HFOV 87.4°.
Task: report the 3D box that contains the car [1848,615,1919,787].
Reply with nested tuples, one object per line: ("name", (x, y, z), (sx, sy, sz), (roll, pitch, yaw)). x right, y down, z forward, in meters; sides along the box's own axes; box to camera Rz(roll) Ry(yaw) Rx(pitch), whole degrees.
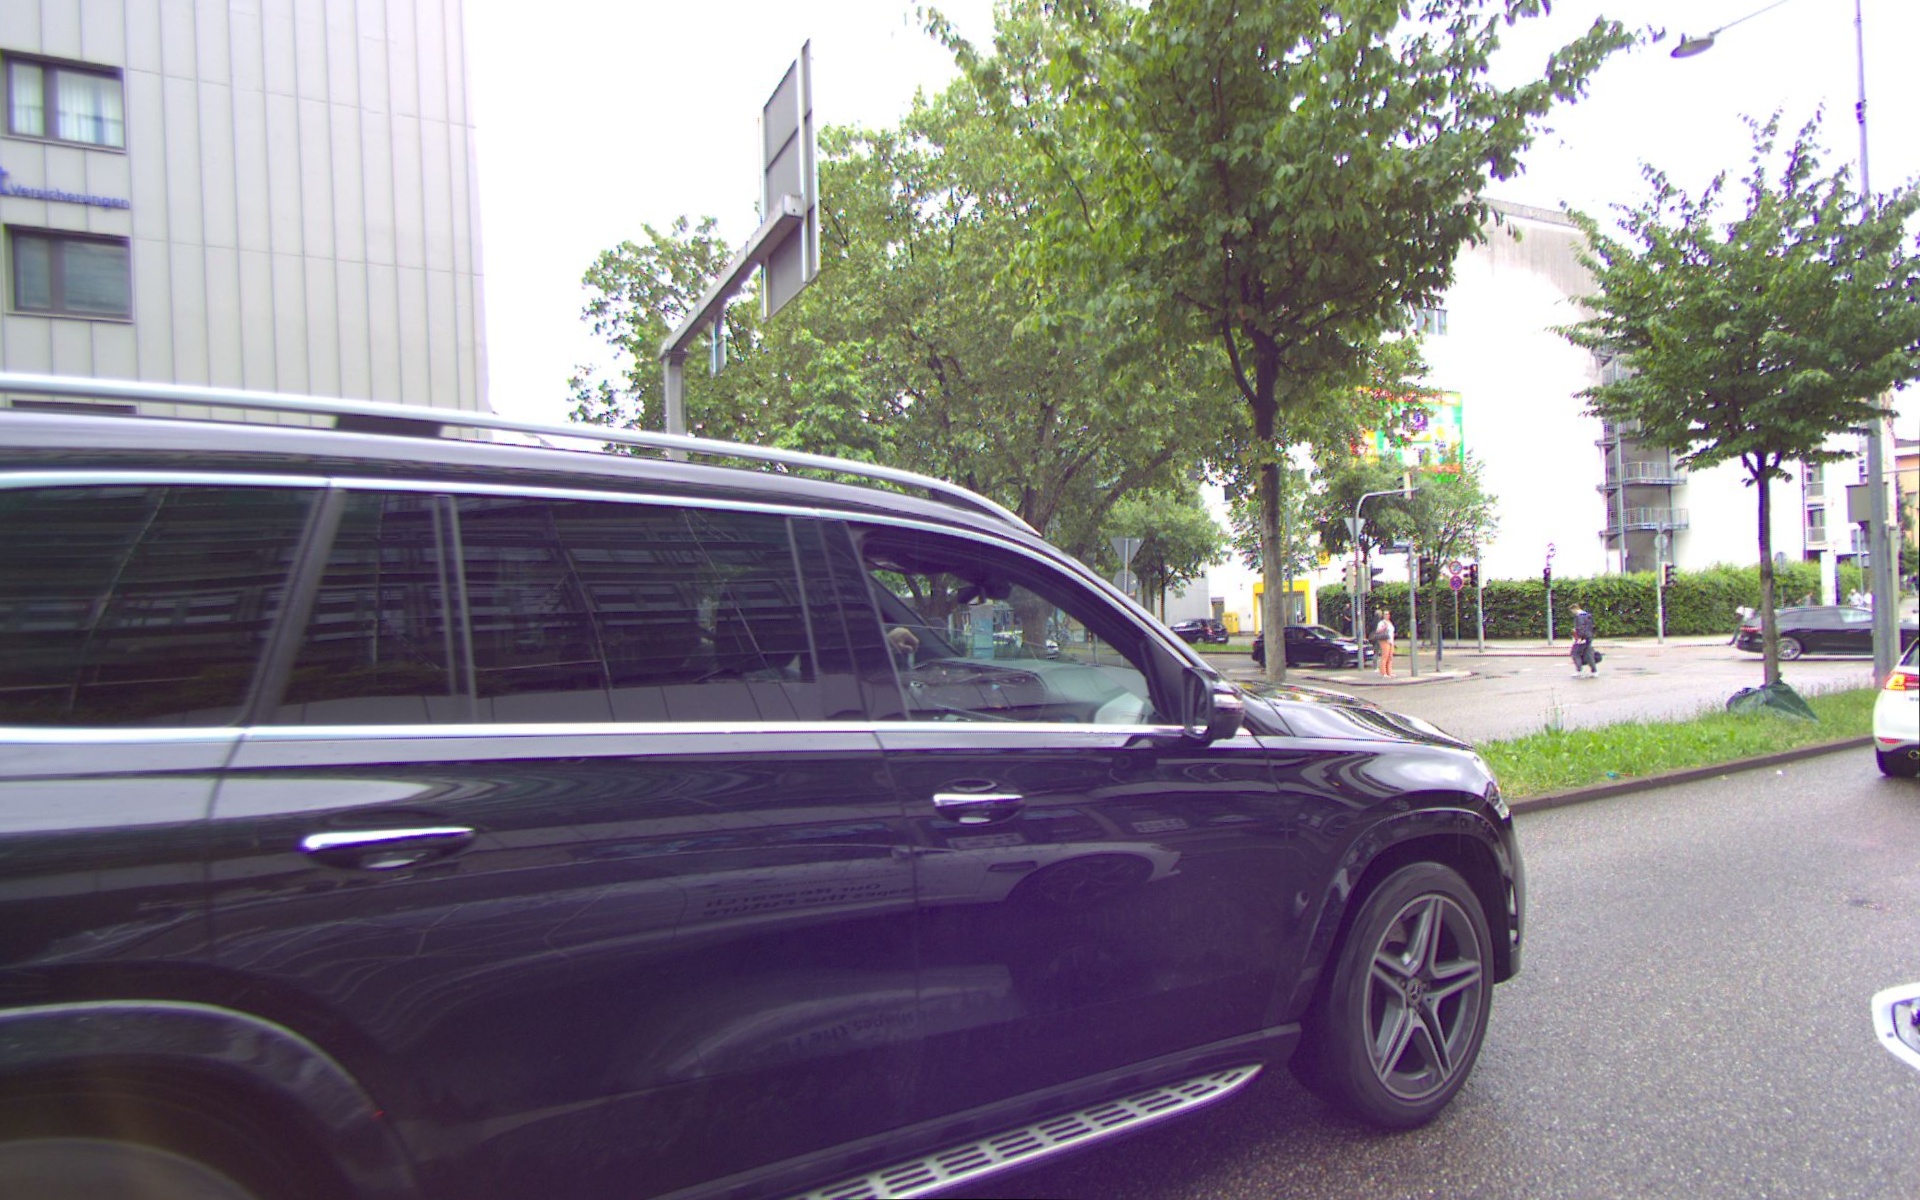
("car", (9.961, 0.875, 9.228), (3.801, 1.448, 1.767), (0, 0, -33))

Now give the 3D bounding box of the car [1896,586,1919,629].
("car", (35.063, 0.247, 35.883), (3.571, 1.506, 1.565), (0, 1, -33))

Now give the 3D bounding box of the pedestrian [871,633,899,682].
("pedestrian", (-2.681, 2.036, 35.838), (0.780, 1.719, 0.721), (1, -2, -26))

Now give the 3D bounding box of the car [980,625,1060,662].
("car", (2.746, 1.980, 46.723), (1.619, 1.506, 4.271), (0, 1, -31))

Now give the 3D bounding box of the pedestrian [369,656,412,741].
("pedestrian", (-11.917, 2.049, 21.045), (0.700, 1.702, 0.745), (2, 0, -28))

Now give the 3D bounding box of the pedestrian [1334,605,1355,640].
("pedestrian", (19.134, 1.118, 49.967), (0.633, 1.664, 0.726), (2, -1, -37))

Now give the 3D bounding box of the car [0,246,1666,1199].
("car", (-0.368, 0.557, 2.842), (5.013, 1.895, 1.902), (2, -1, -30))

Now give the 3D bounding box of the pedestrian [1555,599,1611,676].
("pedestrian", (15.162, 0.905, 24.439), (0.702, 1.807, 0.917), (2, -1, -35))

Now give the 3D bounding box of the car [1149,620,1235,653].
("car", (11.570, 1.829, 50.277), (1.774, 1.474, 4.027), (-2, -2, -34))

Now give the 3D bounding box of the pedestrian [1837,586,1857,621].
("pedestrian", (44.787, 0.188, 50.721), (0.651, 1.751, 0.591), (2, -1, -38))

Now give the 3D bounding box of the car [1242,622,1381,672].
("car", (11.901, 1.562, 34.206), (1.690, 1.586, 4.193), (1, -2, -40))

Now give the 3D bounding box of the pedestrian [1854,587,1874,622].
("pedestrian", (45.280, 0.235, 50.314), (0.651, 1.751, 0.591), (2, -1, -38))

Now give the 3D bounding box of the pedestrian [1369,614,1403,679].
("pedestrian", (11.276, 1.225, 26.603), (0.572, 1.684, 0.554), (-2, 0, -30))

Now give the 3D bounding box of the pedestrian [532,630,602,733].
("pedestrian", (-6.822, 1.396, 17.429), (0.954, 1.702, 0.703), (2, -1, -33))

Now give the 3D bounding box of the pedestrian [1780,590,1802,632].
("pedestrian", (35.024, 0.464, 42.327), (0.741, 1.771, 0.535), (2, -1, -38))

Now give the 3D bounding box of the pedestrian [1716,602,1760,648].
("pedestrian", (27.707, 0.899, 35.793), (0.677, 1.599, 1.055), (2, -1, -34))

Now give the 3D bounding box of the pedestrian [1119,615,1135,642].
("pedestrian", (10.501, 1.782, 63.316), (0.723, 1.664, 0.635), (2, 0, -23))

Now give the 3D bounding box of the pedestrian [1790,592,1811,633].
("pedestrian", (36.306, 0.543, 43.399), (0.559, 1.771, 0.535), (2, 0, -35))

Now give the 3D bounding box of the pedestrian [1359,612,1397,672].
("pedestrian", (11.991, 1.197, 28.834), (0.620, 1.684, 0.749), (-2, 0, -30))

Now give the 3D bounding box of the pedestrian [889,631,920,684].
("pedestrian", (-1.823, 1.875, 33.070), (0.719, 1.719, 0.782), (2, -3, -35))

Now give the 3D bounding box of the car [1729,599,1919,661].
("car", (23.534, 0.812, 27.007), (4.439, 1.474, 1.785), (-4, -2, 39))
